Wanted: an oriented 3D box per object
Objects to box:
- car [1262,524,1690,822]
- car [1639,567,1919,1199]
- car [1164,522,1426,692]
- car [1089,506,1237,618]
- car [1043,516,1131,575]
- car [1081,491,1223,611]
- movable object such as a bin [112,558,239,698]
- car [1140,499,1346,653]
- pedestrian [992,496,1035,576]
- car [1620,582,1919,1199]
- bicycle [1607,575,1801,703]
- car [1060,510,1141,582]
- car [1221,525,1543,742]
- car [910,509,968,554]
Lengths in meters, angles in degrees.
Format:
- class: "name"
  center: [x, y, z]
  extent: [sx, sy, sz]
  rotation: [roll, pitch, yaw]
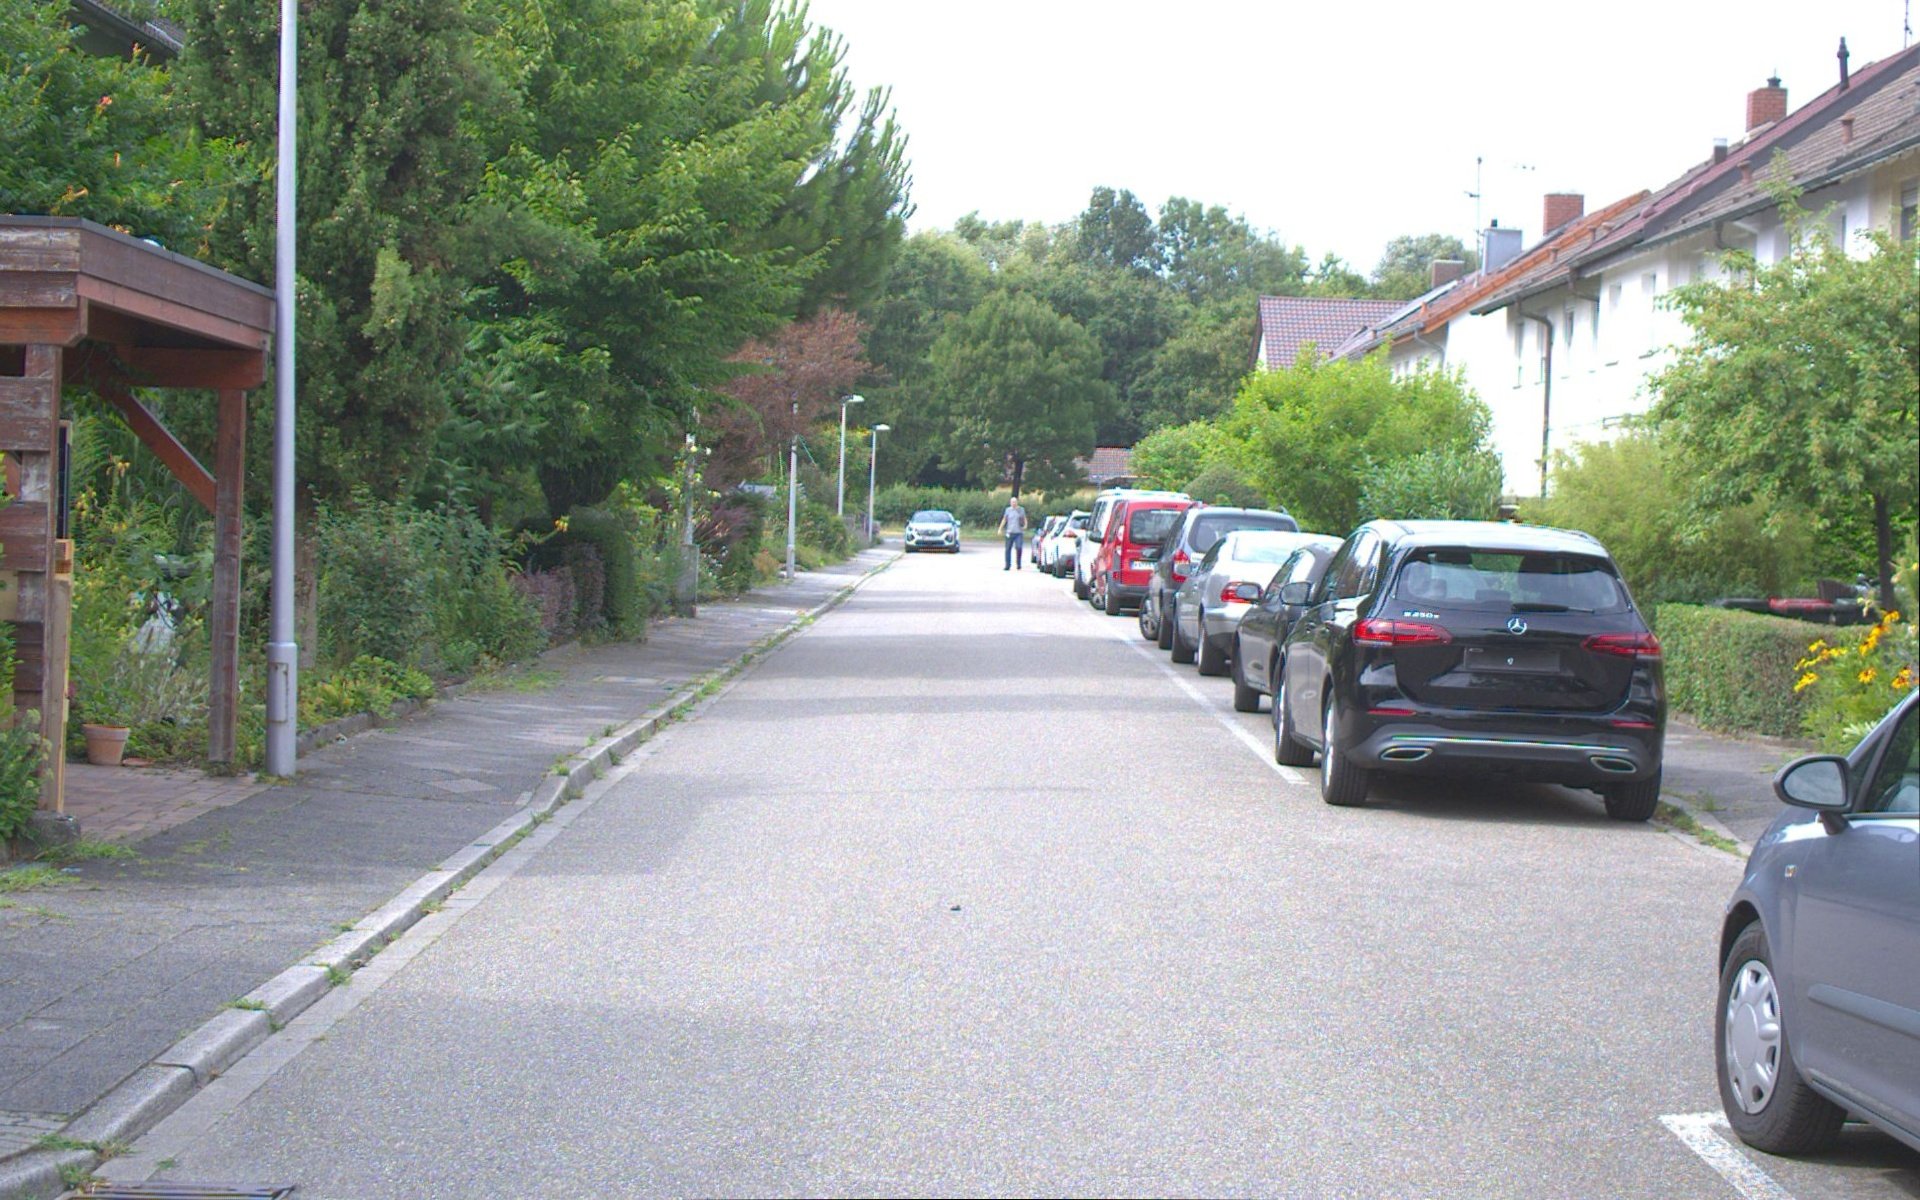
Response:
- class: "car"
  center: [2.862, 0.325, 20.034]
  extent: [1.749, 1.462, 4.648]
  rotation: [2, 2, 0]
- class: "car"
  center: [2.828, 0.724, 7.710]
  extent: [1.741, 1.465, 4.217]
  rotation: [1, 2, 0]
- class: "car"
  center: [3.177, 0.012, 33.553]
  extent: [1.867, 1.402, 4.768]
  rotation: [3, 2, -2]
- class: "car"
  center: [3.155, -0.634, 54.158]
  extent: [1.810, 1.645, 4.411]
  rotation: [1, 2, -3]
- class: "car"
  center: [3.153, -1.391, 86.359]
  extent: [1.838, 1.408, 4.638]
  rotation: [1, 2, -2]
- class: "car"
  center: [3.258, -0.875, 59.152]
  extent: [2.020, 1.940, 4.748]
  rotation: [1, 2, -2]
- class: "movable object such as a bin"
  center: [-5.548, 0.190, 24.354]
  extent: [0.712, 0.953, 0.751]
  rotation: [1, 1, 0]
- class: "car"
  center: [3.225, -0.327, 39.987]
  extent: [1.867, 1.647, 4.465]
  rotation: [2, 2, -2]
- class: "pedestrian"
  center: [1.358, -1.638, 87.277]
  extent: [0.912, 2.007, 0.951]
  rotation: [1, 1, -9]
- class: "car"
  center: [2.836, 0.768, 7.717]
  extent: [1.703, 1.437, 4.221]
  rotation: [3, 2, -2]
- class: "bicycle"
  center: [6.256, 0.323, 28.941]
  extent: [1.538, 1.019, 0.376]
  rotation: [2, 2, 6]
- class: "car"
  center: [3.195, -1.254, 78.724]
  extent: [1.714, 1.538, 3.974]
  rotation: [2, 2, 1]
- class: "car"
  center: [3.057, 0.187, 25.688]
  extent: [1.732, 1.423, 4.126]
  rotation: [2, 2, -2]
- class: "car"
  center: [-0.730, -2.466, 123.665]
  extent: [1.934, 1.551, 4.634]
  rotation: [1, 2, 1]
